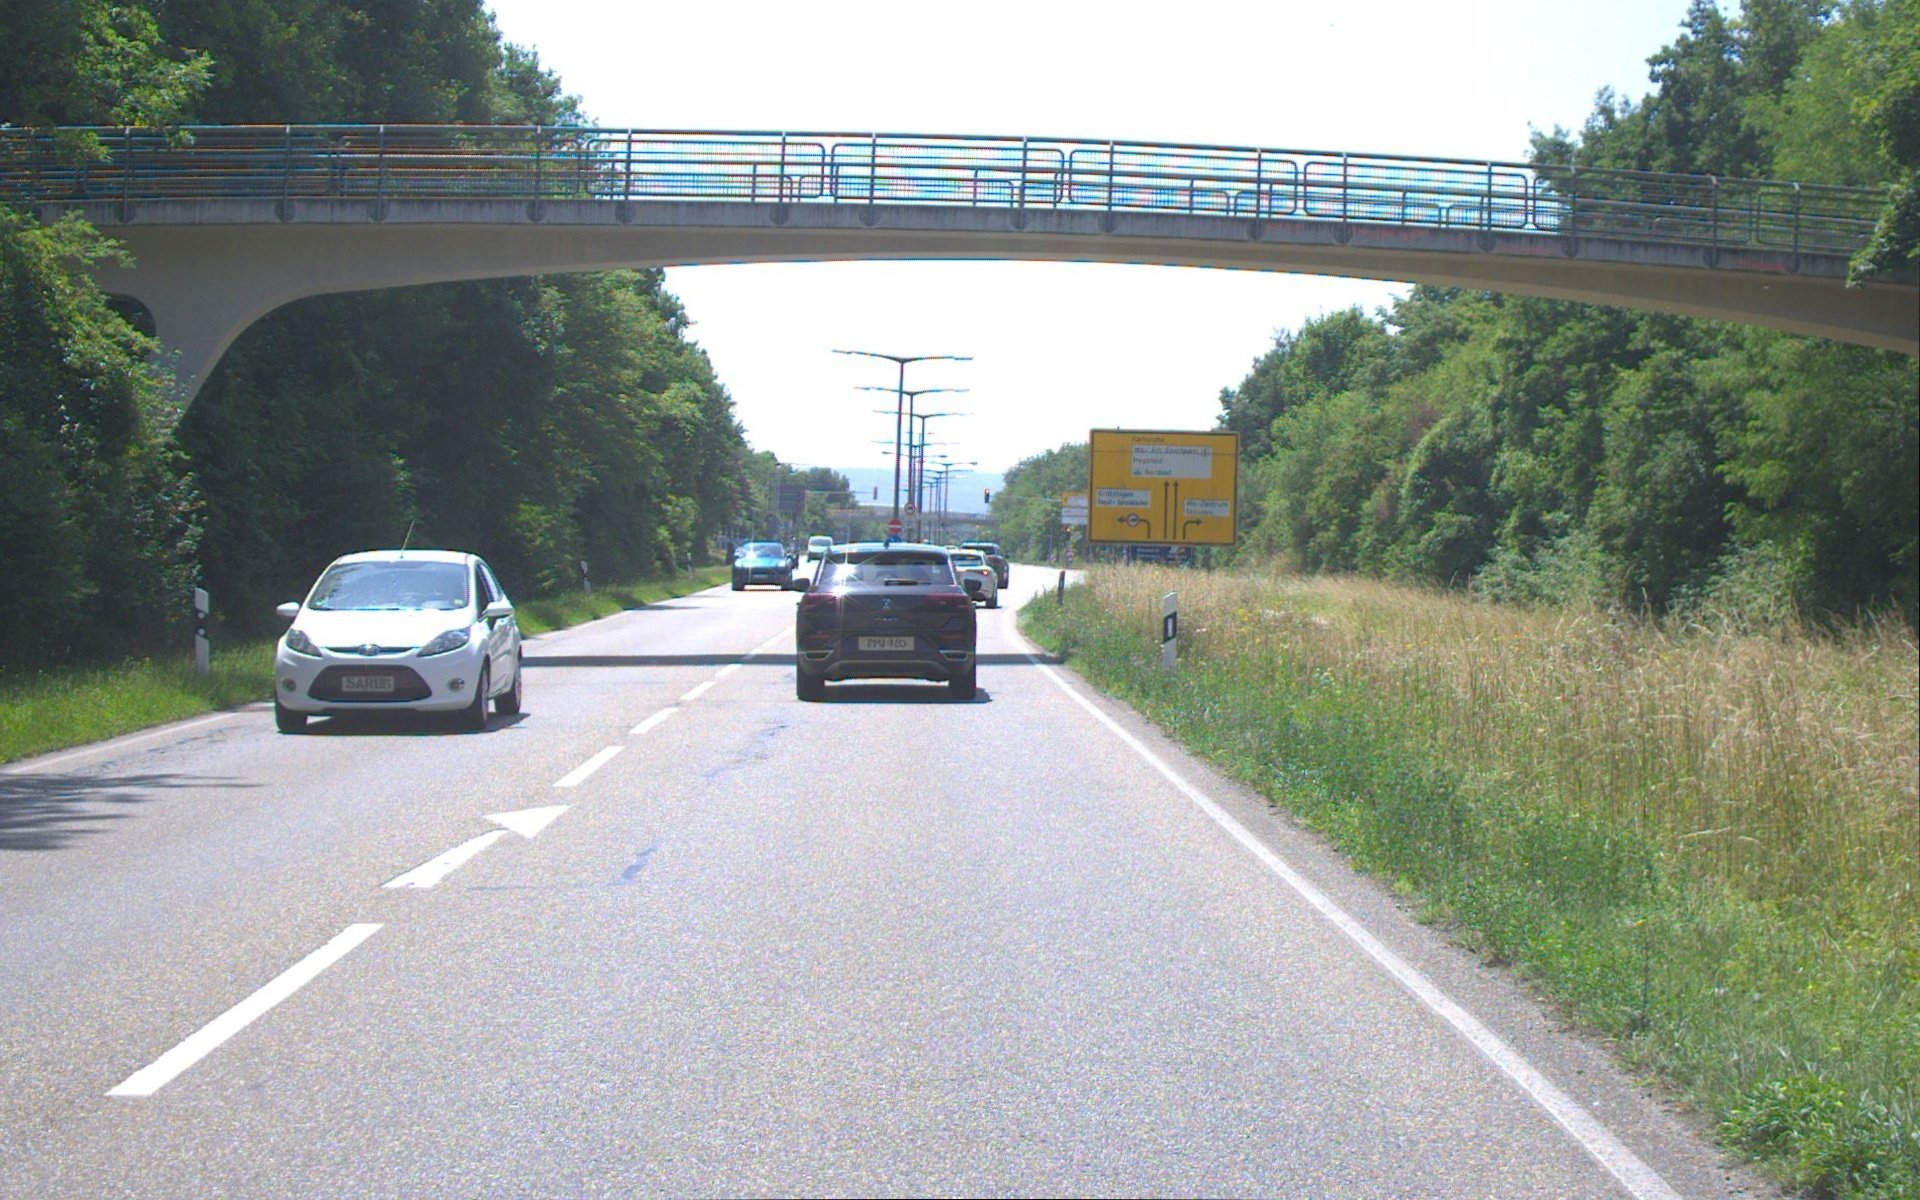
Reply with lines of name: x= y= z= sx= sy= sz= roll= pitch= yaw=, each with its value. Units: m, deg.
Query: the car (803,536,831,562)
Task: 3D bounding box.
car: x=-9.387 y=-3.352 z=226.067 sx=1.731 sy=1.682 sz=4.095 roll=0 pitch=1 yaw=-1

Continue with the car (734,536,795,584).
car: x=-6.612 y=-1.365 z=116.523 sx=1.823 sy=1.584 sz=4.420 roll=0 pitch=1 yaw=-1

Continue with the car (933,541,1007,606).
car: x=0.280 y=-0.687 z=86.513 sx=1.797 sy=1.577 sz=4.000 roll=0 pitch=1 yaw=1

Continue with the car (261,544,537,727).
car: x=-4.648 y=0.252 z=28.945 sx=1.677 sy=1.428 sz=3.772 roll=0 pitch=1 yaw=0

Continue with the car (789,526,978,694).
car: x=-0.719 y=0.065 z=34.767 sx=1.755 sy=1.551 sz=4.000 roll=2 pitch=1 yaw=0
